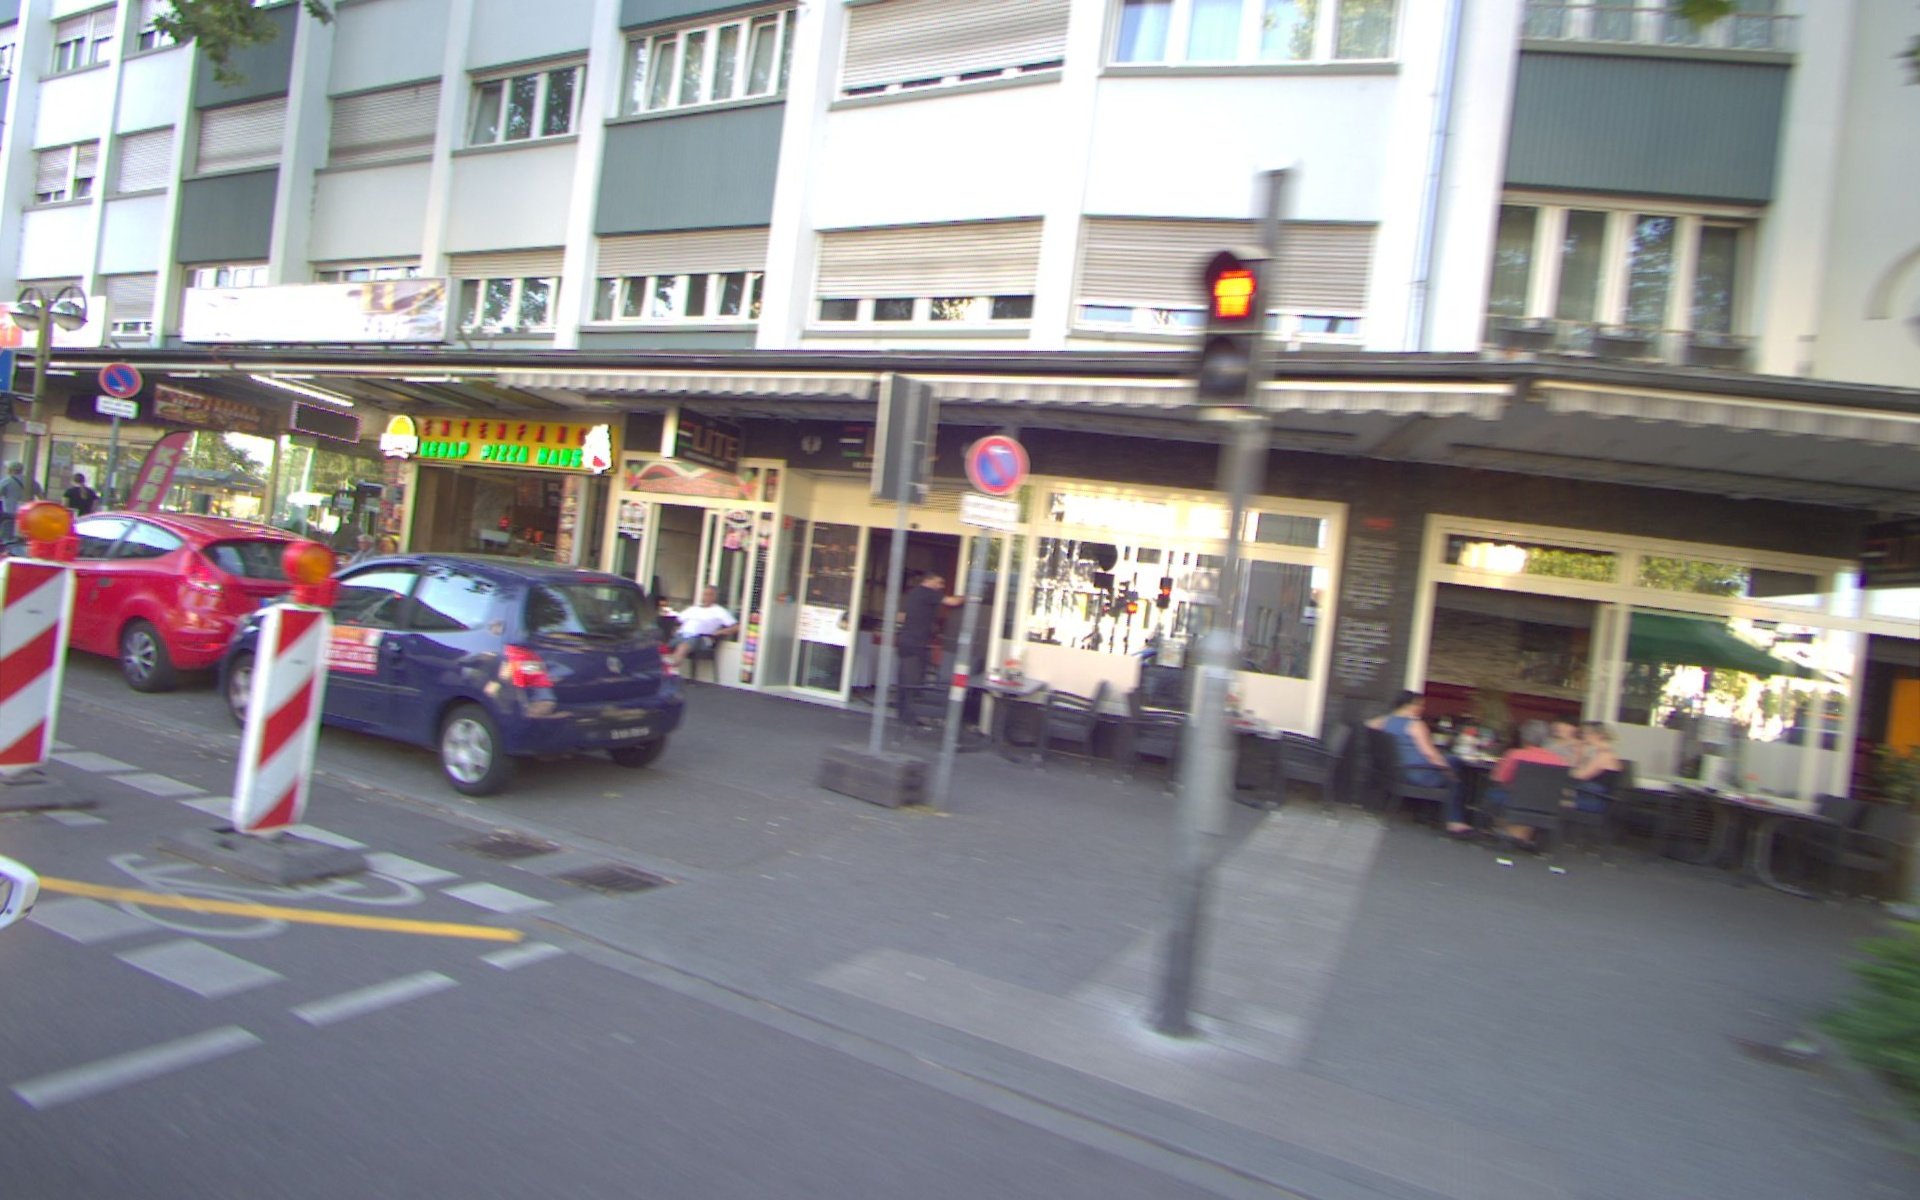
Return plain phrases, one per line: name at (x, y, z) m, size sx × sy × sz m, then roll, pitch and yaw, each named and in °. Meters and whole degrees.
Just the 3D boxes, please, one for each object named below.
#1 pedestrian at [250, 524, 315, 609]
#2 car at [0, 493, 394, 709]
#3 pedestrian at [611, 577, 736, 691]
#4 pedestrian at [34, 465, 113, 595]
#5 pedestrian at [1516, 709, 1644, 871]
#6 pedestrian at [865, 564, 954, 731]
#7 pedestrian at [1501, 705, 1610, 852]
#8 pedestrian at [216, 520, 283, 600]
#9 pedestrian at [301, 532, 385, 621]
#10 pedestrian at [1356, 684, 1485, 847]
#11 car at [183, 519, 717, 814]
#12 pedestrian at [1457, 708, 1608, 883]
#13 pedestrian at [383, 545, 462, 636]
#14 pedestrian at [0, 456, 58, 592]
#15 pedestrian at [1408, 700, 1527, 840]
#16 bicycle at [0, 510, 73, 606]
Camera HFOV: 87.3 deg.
pedestrian at (-10.761, -0.527, 15.986) m, size 0.701 × 1.260 × 0.615 m, roll 7°, pitch 3°, yaw 37°
car at (-7.392, -0.069, 9.373) m, size 3.777 × 1.448 × 1.669 m, roll 7°, pitch 2°, yaw 23°
pedestrian at (-3.485, 0.406, 12.313) m, size 0.766 × 1.249 × 1.203 m, roll 7°, pitch 3°, yaw 30°
pedestrian at (-14.704, -1.149, 16.687) m, size 0.684 × 2.038 × 0.613 m, roll 7°, pitch 1°, yaw 28°
pedestrian at (5.493, 1.658, 8.959) m, size 0.704 × 1.234 × 0.666 m, roll 9°, pitch 2°, yaw 22°
pedestrian at (-0.562, 0.522, 11.265) m, size 0.579 × 1.758 × 0.596 m, roll 8°, pitch 3°, yaw 25°
pedestrian at (5.600, 1.674, 9.472) m, size 0.514 × 1.260 × 0.548 m, roll 7°, pitch 2°, yaw -29°
pedestrian at (-11.641, -0.647, 16.488) m, size 0.693 × 1.220 × 0.676 m, roll 7°, pitch 3°, yaw 38°
pedestrian at (-9.293, -0.344, 15.155) m, size 0.687 × 1.237 × 0.862 m, roll 8°, pitch 3°, yaw 42°
pedestrian at (4.132, 1.470, 9.084) m, size 0.704 × 1.267 × 0.650 m, roll 8°, pitch 2°, yaw 3°
car at (-3.808, 0.366, 7.494) m, size 3.540 × 1.485 × 1.622 m, roll 7°, pitch 2°, yaw 25°
pedestrian at (4.719, 1.587, 8.358) m, size 0.638 × 1.213 × 0.846 m, roll 8°, pitch 2°, yaw 5°
pedestrian at (-7.393, -0.127, 13.831) m, size 0.740 × 1.172 × 0.594 m, roll 7°, pitch 3°, yaw 29°
pedestrian at (-14.844, -1.193, 15.754) m, size 0.684 × 2.038 × 0.692 m, roll 7°, pitch 1°, yaw 25°
pedestrian at (4.857, 1.612, 9.680) m, size 0.638 × 1.144 × 0.717 m, roll 8°, pitch 2°, yaw 3°
bicycle at (-11.323, -0.505, 11.700) m, size 0.291 × 1.082 × 1.457 m, roll 12°, pitch 6°, yaw 39°
